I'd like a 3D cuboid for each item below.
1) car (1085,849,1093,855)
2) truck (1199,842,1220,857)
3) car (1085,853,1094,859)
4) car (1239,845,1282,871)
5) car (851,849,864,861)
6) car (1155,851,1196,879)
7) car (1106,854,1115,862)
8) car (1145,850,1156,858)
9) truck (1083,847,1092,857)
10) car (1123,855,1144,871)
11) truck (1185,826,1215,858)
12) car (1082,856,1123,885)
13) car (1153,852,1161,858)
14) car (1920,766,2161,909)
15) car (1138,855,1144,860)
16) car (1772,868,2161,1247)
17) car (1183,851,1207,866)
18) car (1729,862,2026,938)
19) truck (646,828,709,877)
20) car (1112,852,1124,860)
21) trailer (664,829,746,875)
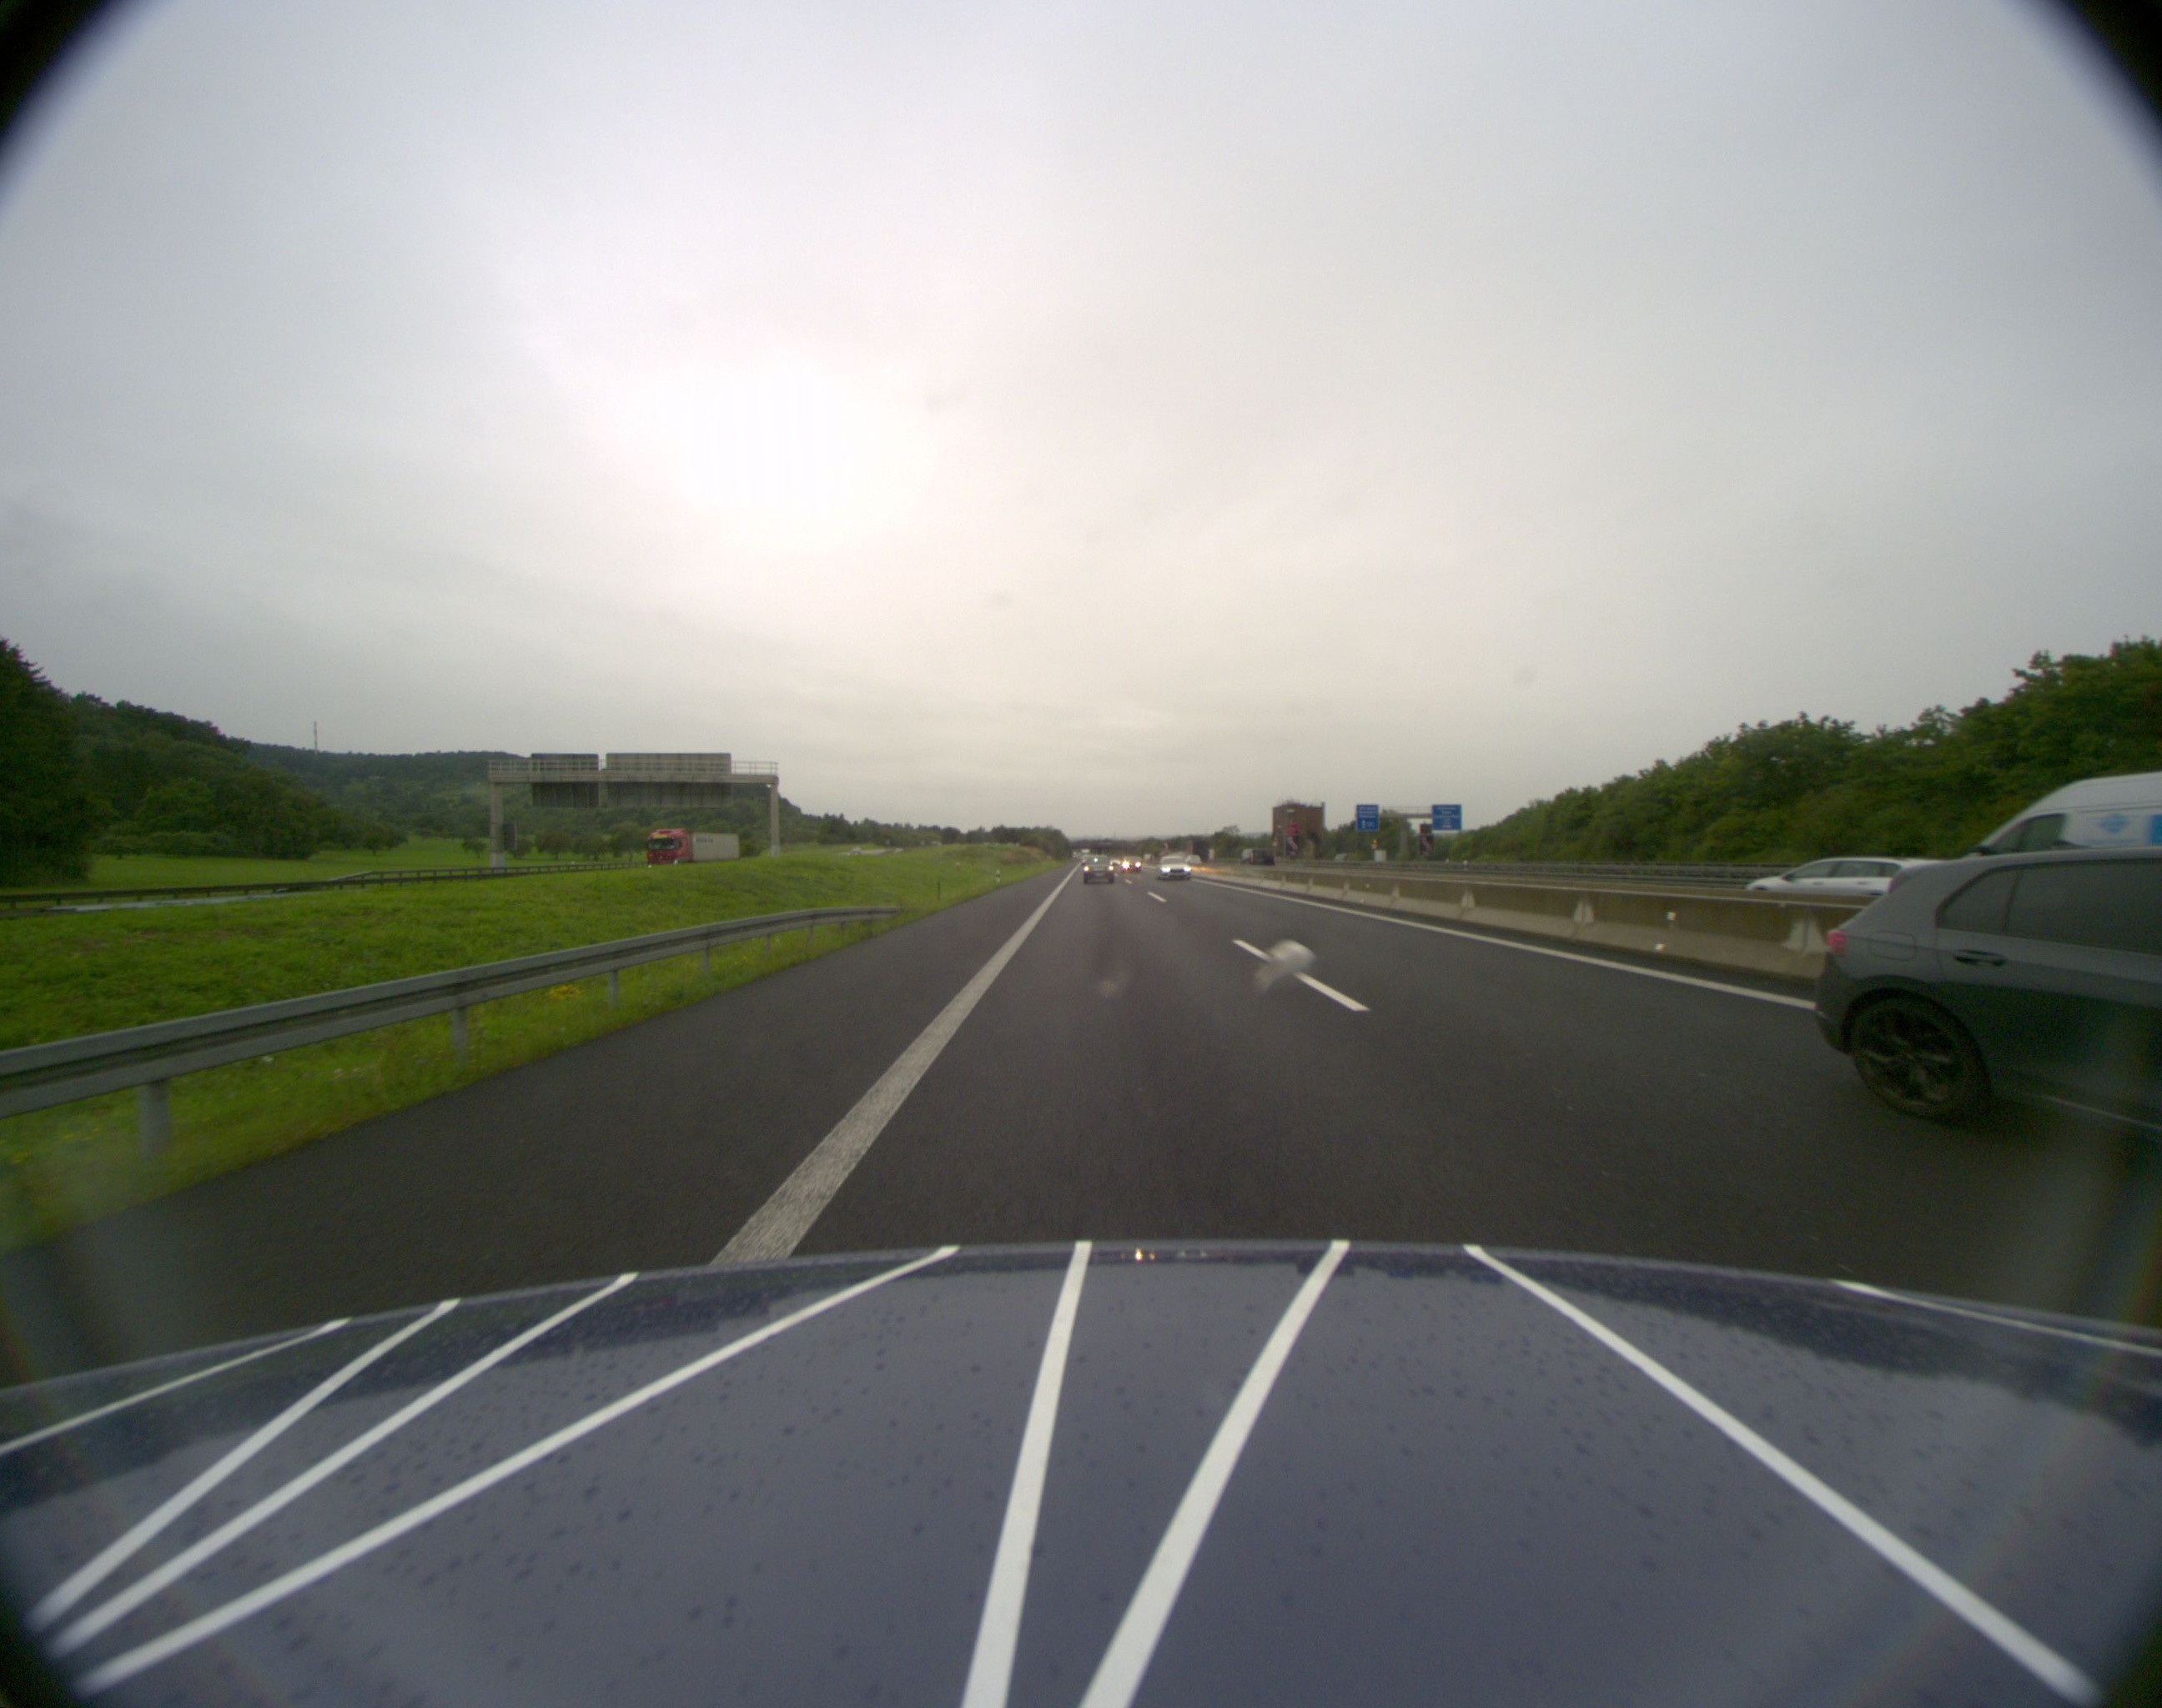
[{"bbox_3d":[2.048,-0.406,186.281,1.942,1.341,4.000,-3,0,1],"label":"car"},{"bbox_3d":[35.890,-1.215,213.248,3.185,3.786,17.135,-1,0,1],"label":"truck"},{"bbox_3d":[2.031,0.444,179.805,1.942,1.341,4.000,-3,0,1],"label":"car"},{"bbox_3d":[13.511,0.312,57.352,1.999,1.825,4.679,-2,0,-1],"label":"car"},{"bbox_3d":[-40.695,0.170,138.563,1.653,2.002,3.997,-1,0,-7],"label":"car"},{"bbox_3d":[5.877,0.632,47.798,1.998,1.582,4.816,-2,0,1],"label":"car"},{"bbox_3d":[6.794,0.933,174.395,1.998,1.565,4.000,-3,0,1],"label":"car"},{"bbox_3d":[14.971,-0.013,164.108,1.999,1.852,5.220,0,0,0],"label":"car"},{"bbox_3d":[2.027,-0.697,243.473,2.728,3.098,7.960,-3,0,1],"label":"truck"},{"bbox_3d":[4.910,0.812,71.542,1.835,1.417,4.368,-2,0,2],"label":"car"},{"bbox_3d":[18.688,-1.758,119.612,3.408,4.705,10.486,-2,0,3],"label":"truck"},{"bbox_3d":[1.290,0.930,44.844,2.242,1.565,4.817,-1,0,2],"label":"car"},{"bbox_3d":[19.678,0.269,196.597,1.728,1.543,4.582,-2,0,0],"label":"car"},{"bbox_3d":[13.917,-0.214,8.581,2.364,1.683,5.906,-1,0,0],"label":"car"},{"bbox_3d":[19.998,1.170,253.467,1.998,1.652,4.314,-1,0,3],"label":"car"},{"bbox_3d":[5.202,0.829,2.513,1.835,1.417,4.367,-2,0,0],"label":"car"},{"bbox_3d":[14.514,0.538,96.682,2.161,1.755,4.960,-1,0,-1],"label":"car"},{"bbox_3d":[18.156,0.957,17.746,1.998,1.427,4.679,-2,0,0],"label":"car"},{"bbox_3d":[-35.019,-0.130,66.181,2.515,3.964,5.925,-3,1,-5],"label":"truck"},{"bbox_3d":[6.400,0.317,131.076,1.941,1.341,4.000,-4,0,2],"label":"car"},{"bbox_3d":[-35.620,-0.197,72.661,2.498,3.961,12.398,-3,0,-5],"label":"trailer"}]
